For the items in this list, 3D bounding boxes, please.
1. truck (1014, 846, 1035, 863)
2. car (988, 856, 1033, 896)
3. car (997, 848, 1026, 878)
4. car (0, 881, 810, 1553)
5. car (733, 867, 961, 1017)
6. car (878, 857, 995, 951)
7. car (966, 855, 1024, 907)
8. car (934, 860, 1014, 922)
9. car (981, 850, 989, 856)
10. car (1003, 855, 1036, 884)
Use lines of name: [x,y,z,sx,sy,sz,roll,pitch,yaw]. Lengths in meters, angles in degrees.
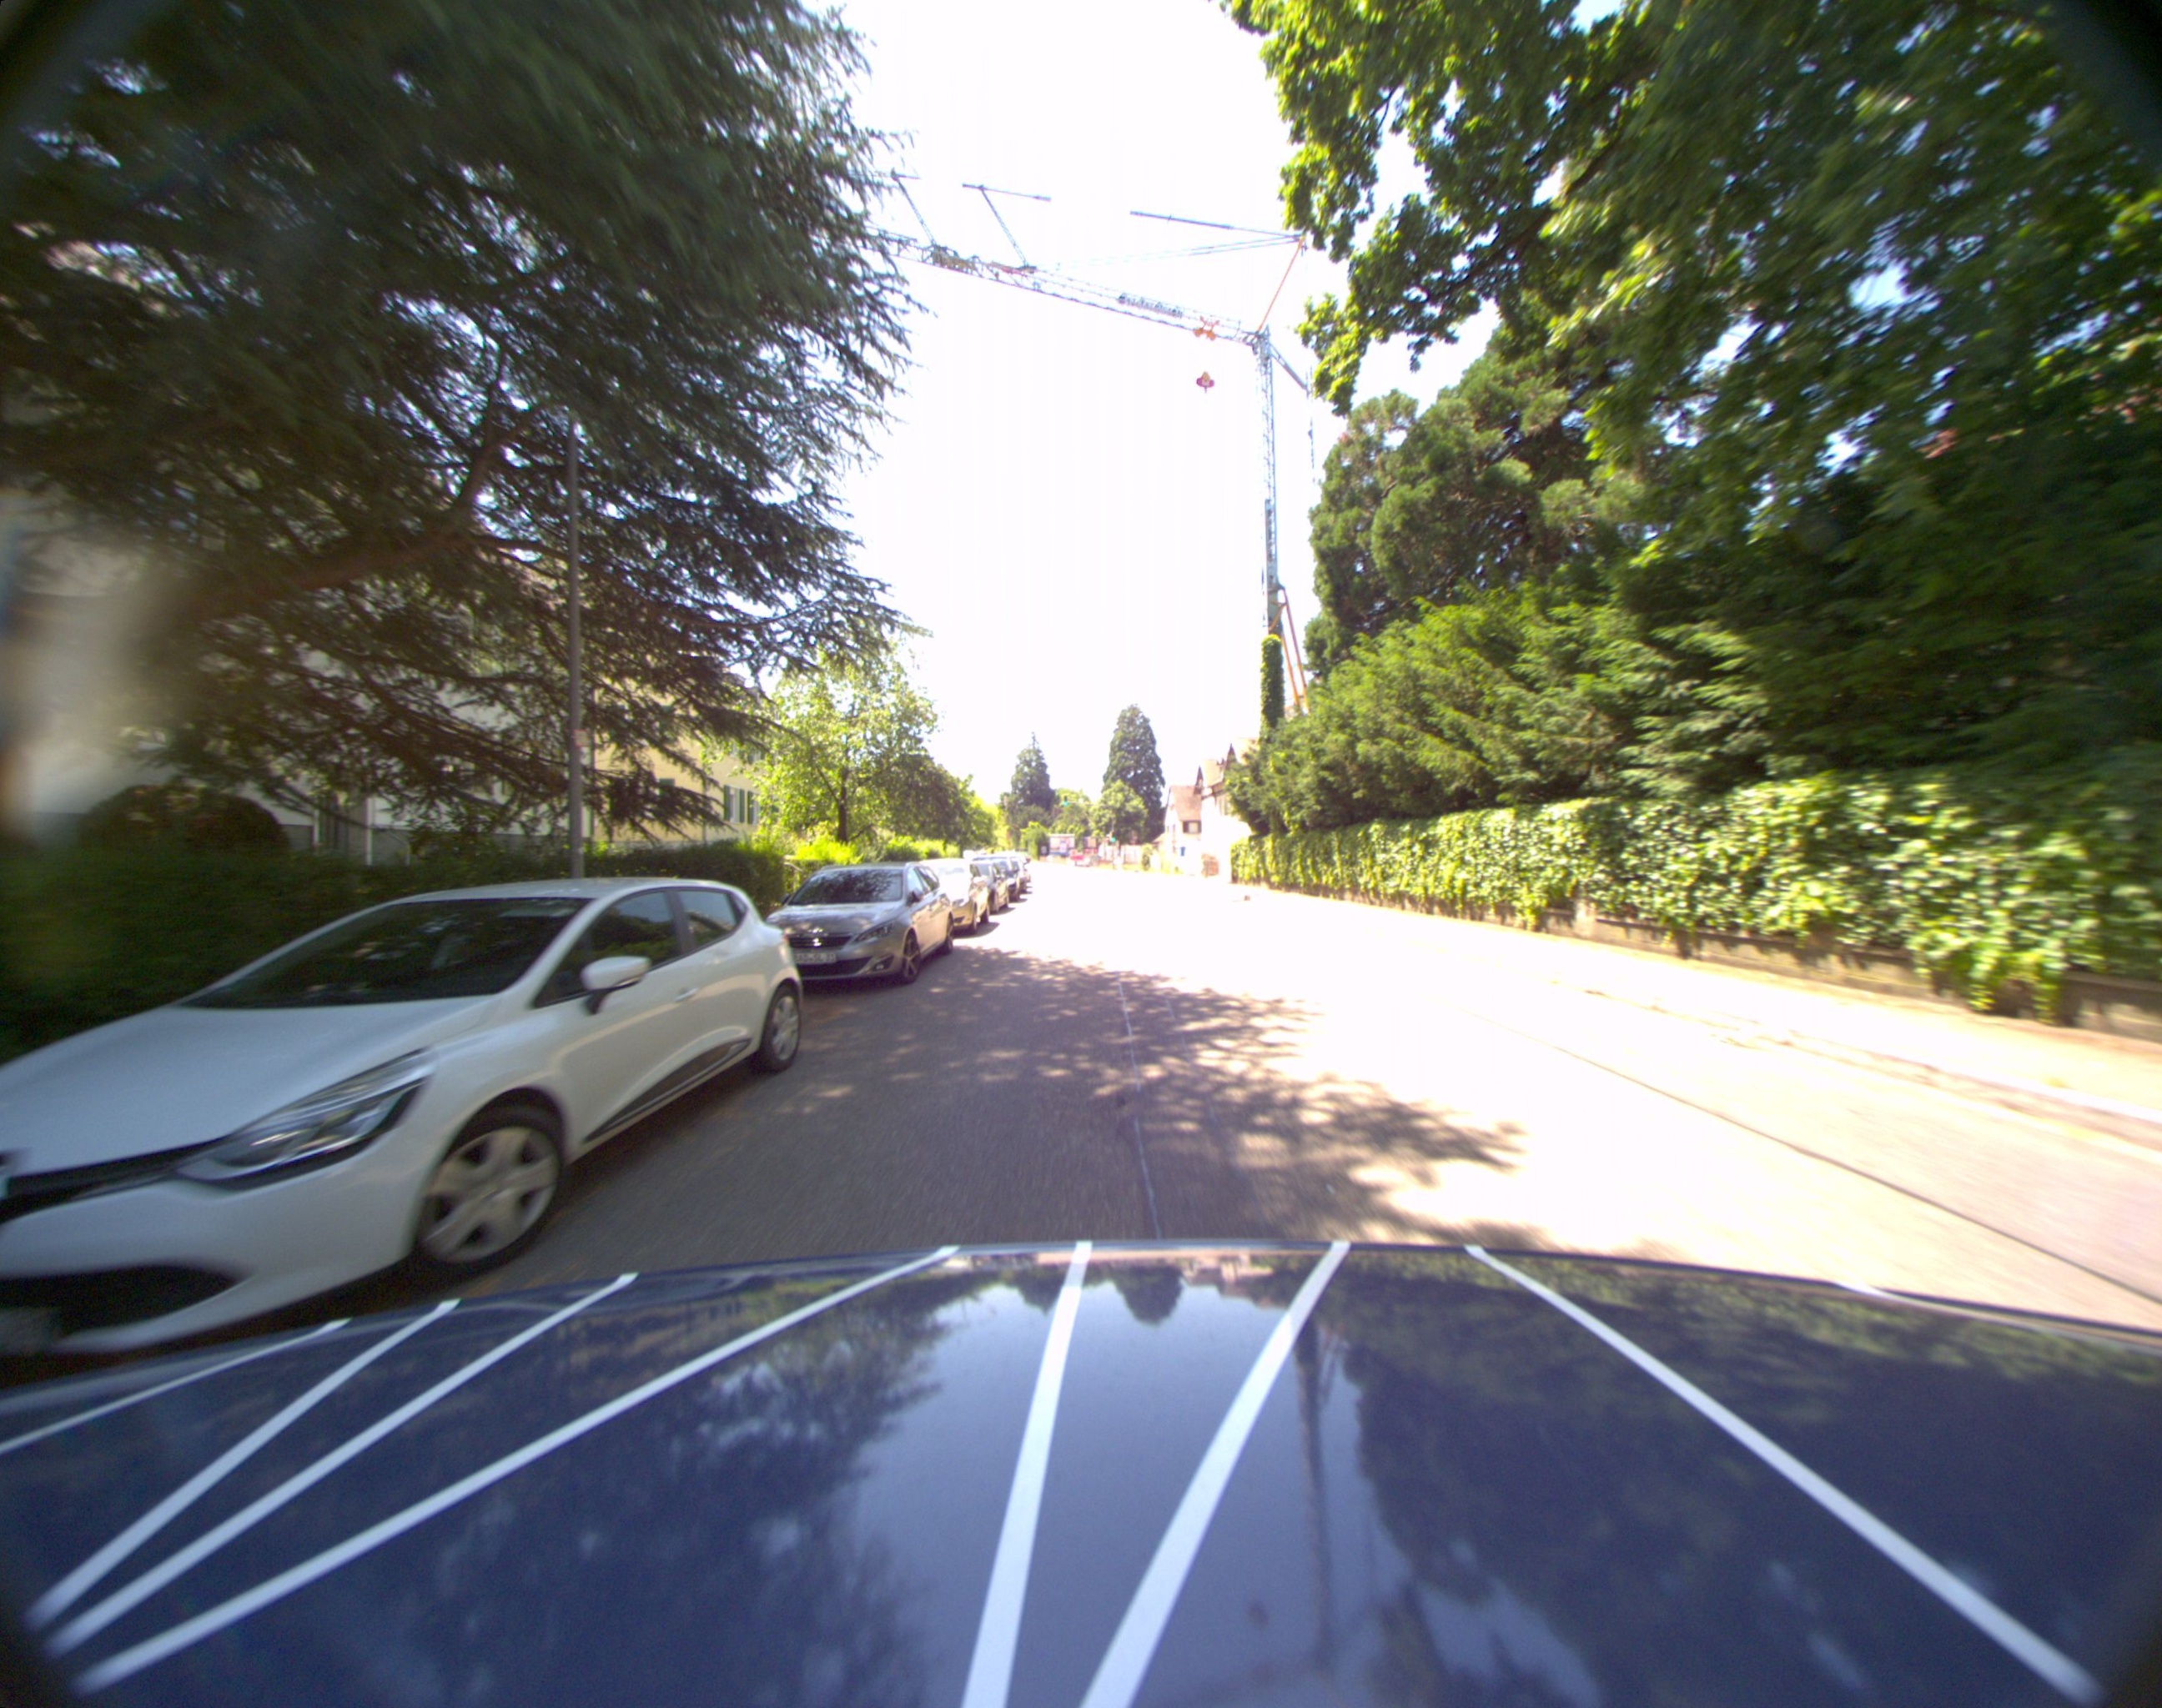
truck: [-7.862,0.073,105.076,2.135,2.325,6.428,-1,0,-11]
car: [-2.884,0.847,31.327,1.666,1.423,4.201,-2,1,-4]
car: [-4.607,0.544,49.801,1.667,1.793,4.200,-4,1,-6]
car: [-2.986,0.974,3.879,1.618,1.461,4.064,-2,0,1]
car: [-2.825,0.969,10.243,1.618,1.442,4.374,-2,0,1]
car: [-2.853,0.918,15.852,1.619,1.504,4.063,-4,1,-1]
car: [-2.856,0.854,25.883,1.586,1.566,4.007,-2,0,-1]
car: [-2.865,0.954,21.104,1.585,1.434,4.008,-4,0,-1]
car: [-22.973,-0.258,182.098,1.658,1.553,3.881,0,1,-9]
car: [-3.494,0.816,43.177,1.666,1.427,4.126,-4,1,-4]
